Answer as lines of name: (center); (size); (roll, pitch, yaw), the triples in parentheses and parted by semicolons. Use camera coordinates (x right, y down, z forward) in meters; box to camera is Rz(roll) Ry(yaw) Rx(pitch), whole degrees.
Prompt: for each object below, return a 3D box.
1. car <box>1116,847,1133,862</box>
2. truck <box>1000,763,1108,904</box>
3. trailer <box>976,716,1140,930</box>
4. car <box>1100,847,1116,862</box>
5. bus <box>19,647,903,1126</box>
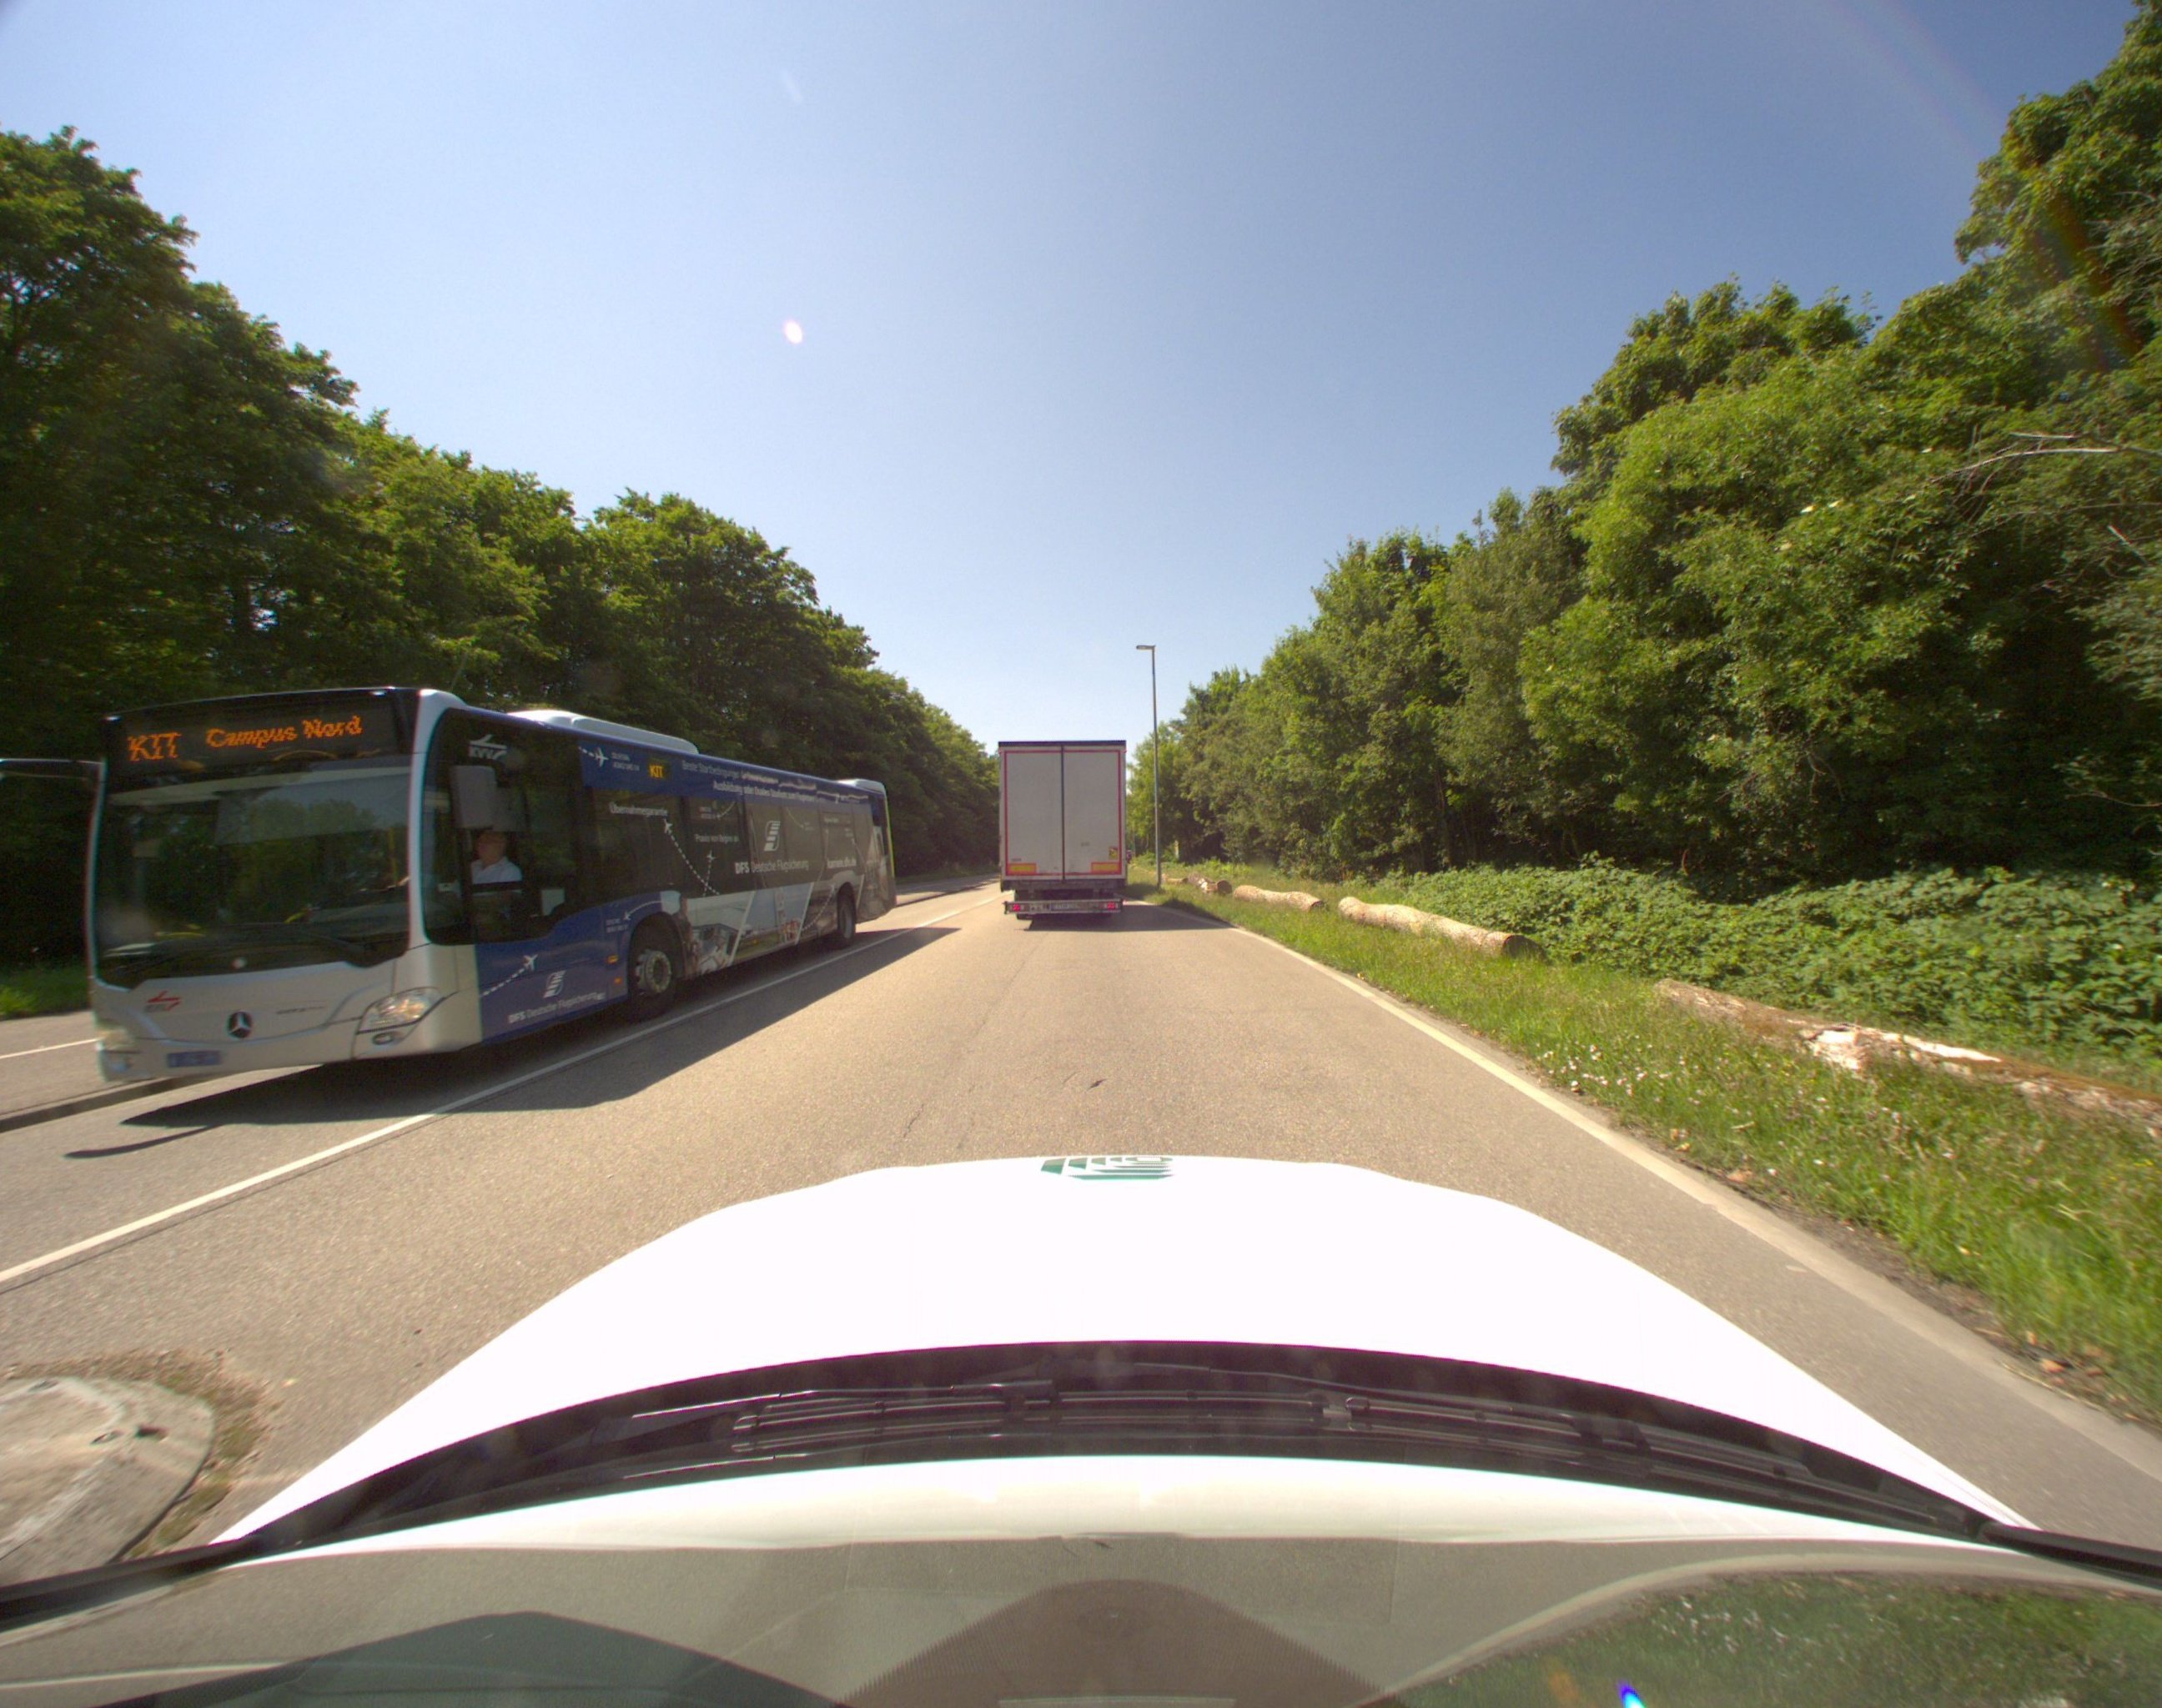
car: (4.683, 0.063, 88.165); (1.704, 1.530, 3.853); (-2, 0, 2)
truck: (-0.938, -0.647, 28.020); (3.069, 4.069, 7.952); (-2, 0, -2)
trailer: (-0.647, -0.625, 20.724); (3.070, 4.069, 9.799); (-2, 0, -2)
car: (3.941, 0.057, 118.768); (1.985, 2.013, 4.004); (-3, 0, 4)
bus: (-5.557, 0.185, 11.526); (2.739, 3.045, 11.945); (-5, 0, 2)
